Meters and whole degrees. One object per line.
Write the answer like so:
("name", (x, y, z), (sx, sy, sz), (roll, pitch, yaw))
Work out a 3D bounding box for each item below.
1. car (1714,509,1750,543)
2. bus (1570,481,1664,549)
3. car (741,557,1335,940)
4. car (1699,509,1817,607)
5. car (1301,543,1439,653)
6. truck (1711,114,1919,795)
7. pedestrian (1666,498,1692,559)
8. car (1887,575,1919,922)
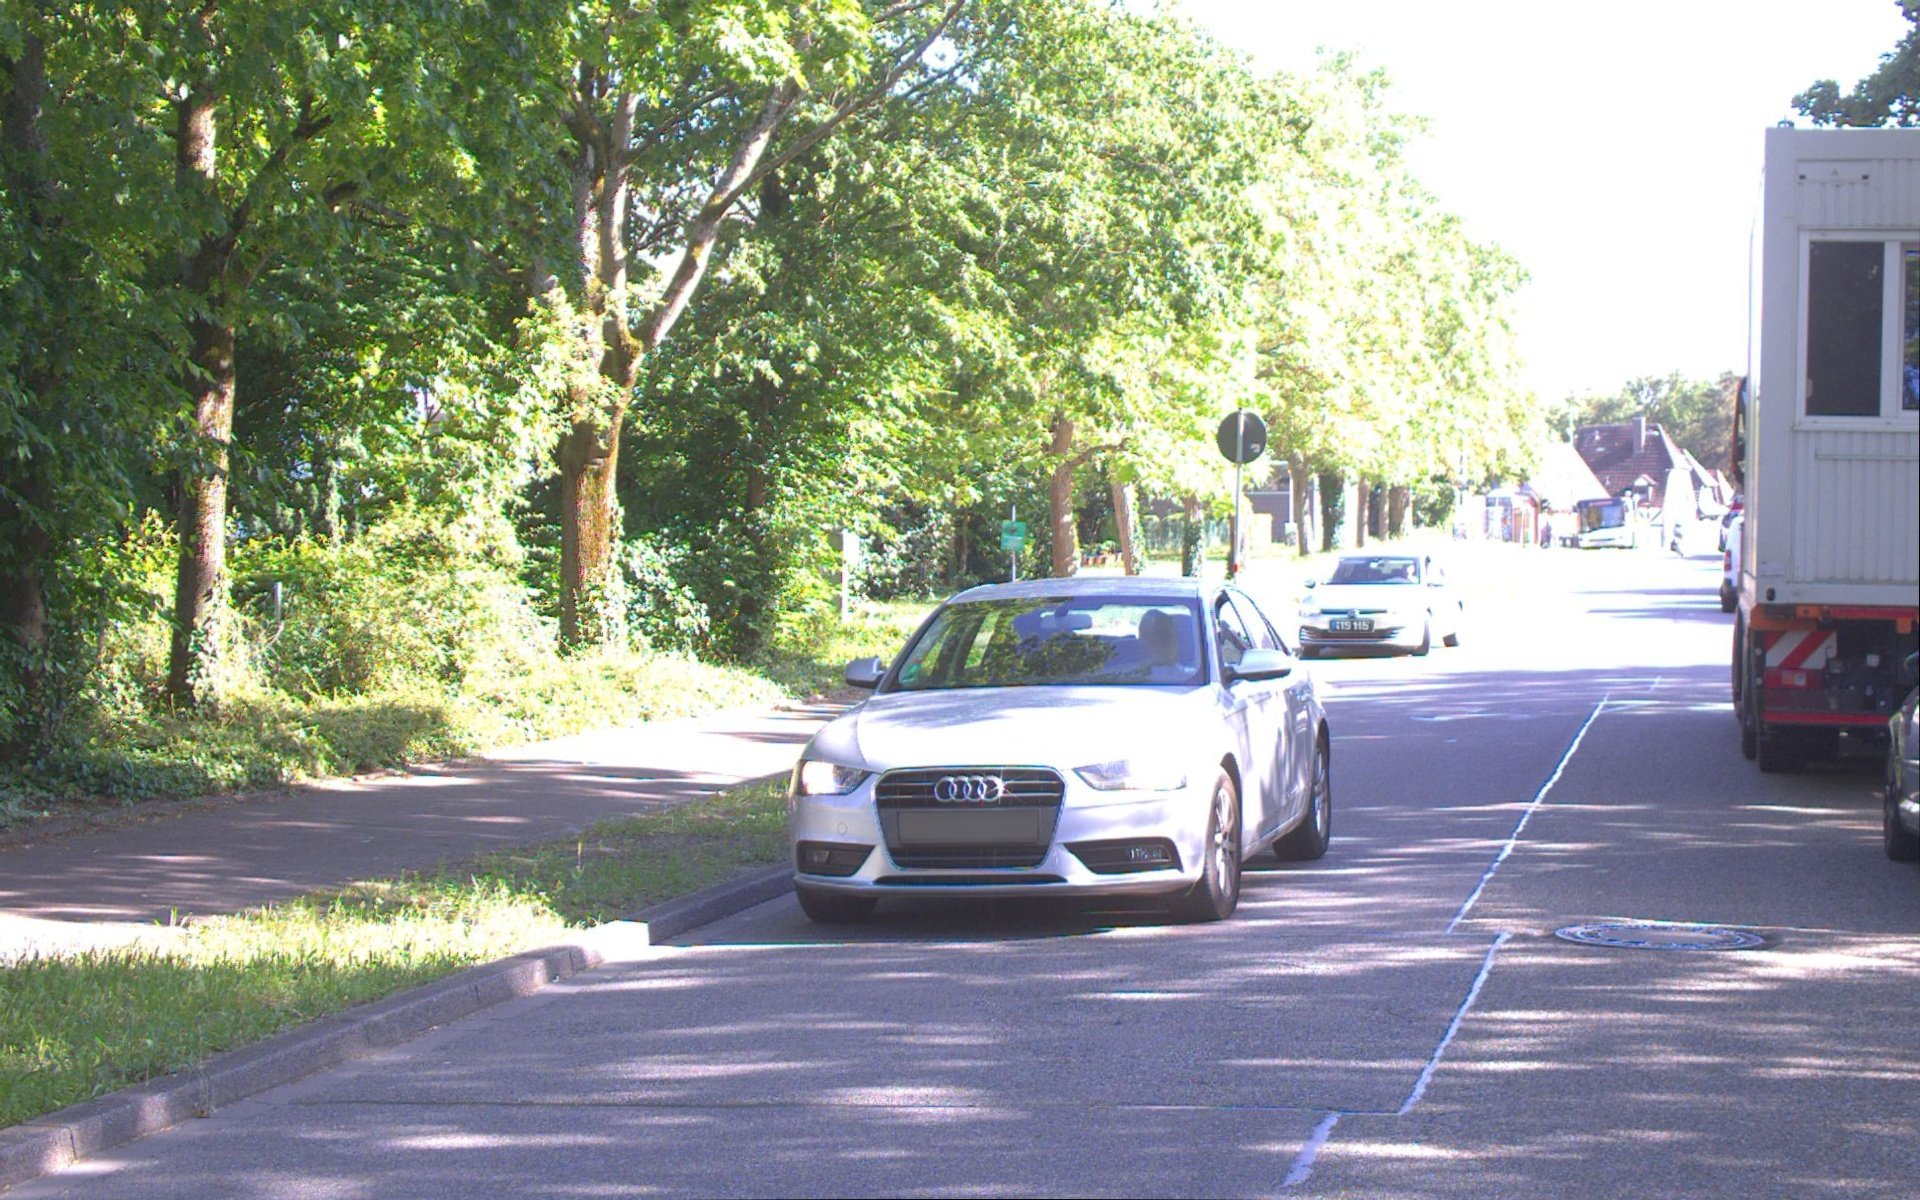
("car", (41.630, -3.971, 185.393), (1.782, 1.802, 3.998), (-1, 1, 11))
("bus", (34.039, -4.415, 177.829), (4.068, 3.337, 9.794), (-1, 1, 15))
("car", (0.504, 0.565, 15.391), (1.788, 1.412, 4.102), (-1, 1, 14))
("car", (15.402, -0.833, 66.501), (1.947, 1.836, 3.999), (0, 1, 9))
("car", (5.710, -0.053, 48.153), (1.806, 1.415, 3.958), (-2, 1, 6))
("truck", (7.014, -0.960, 25.107), (2.774, 3.982, 10.343), (1, 2, 12))
("pedestrian", (25.404, -2.530, 121.474), (0.753, 2.106, 0.798), (2, 1, 15))
("car", (5.026, 0.643, 15.075), (1.641, 1.415, 3.998), (1, 2, 12))
